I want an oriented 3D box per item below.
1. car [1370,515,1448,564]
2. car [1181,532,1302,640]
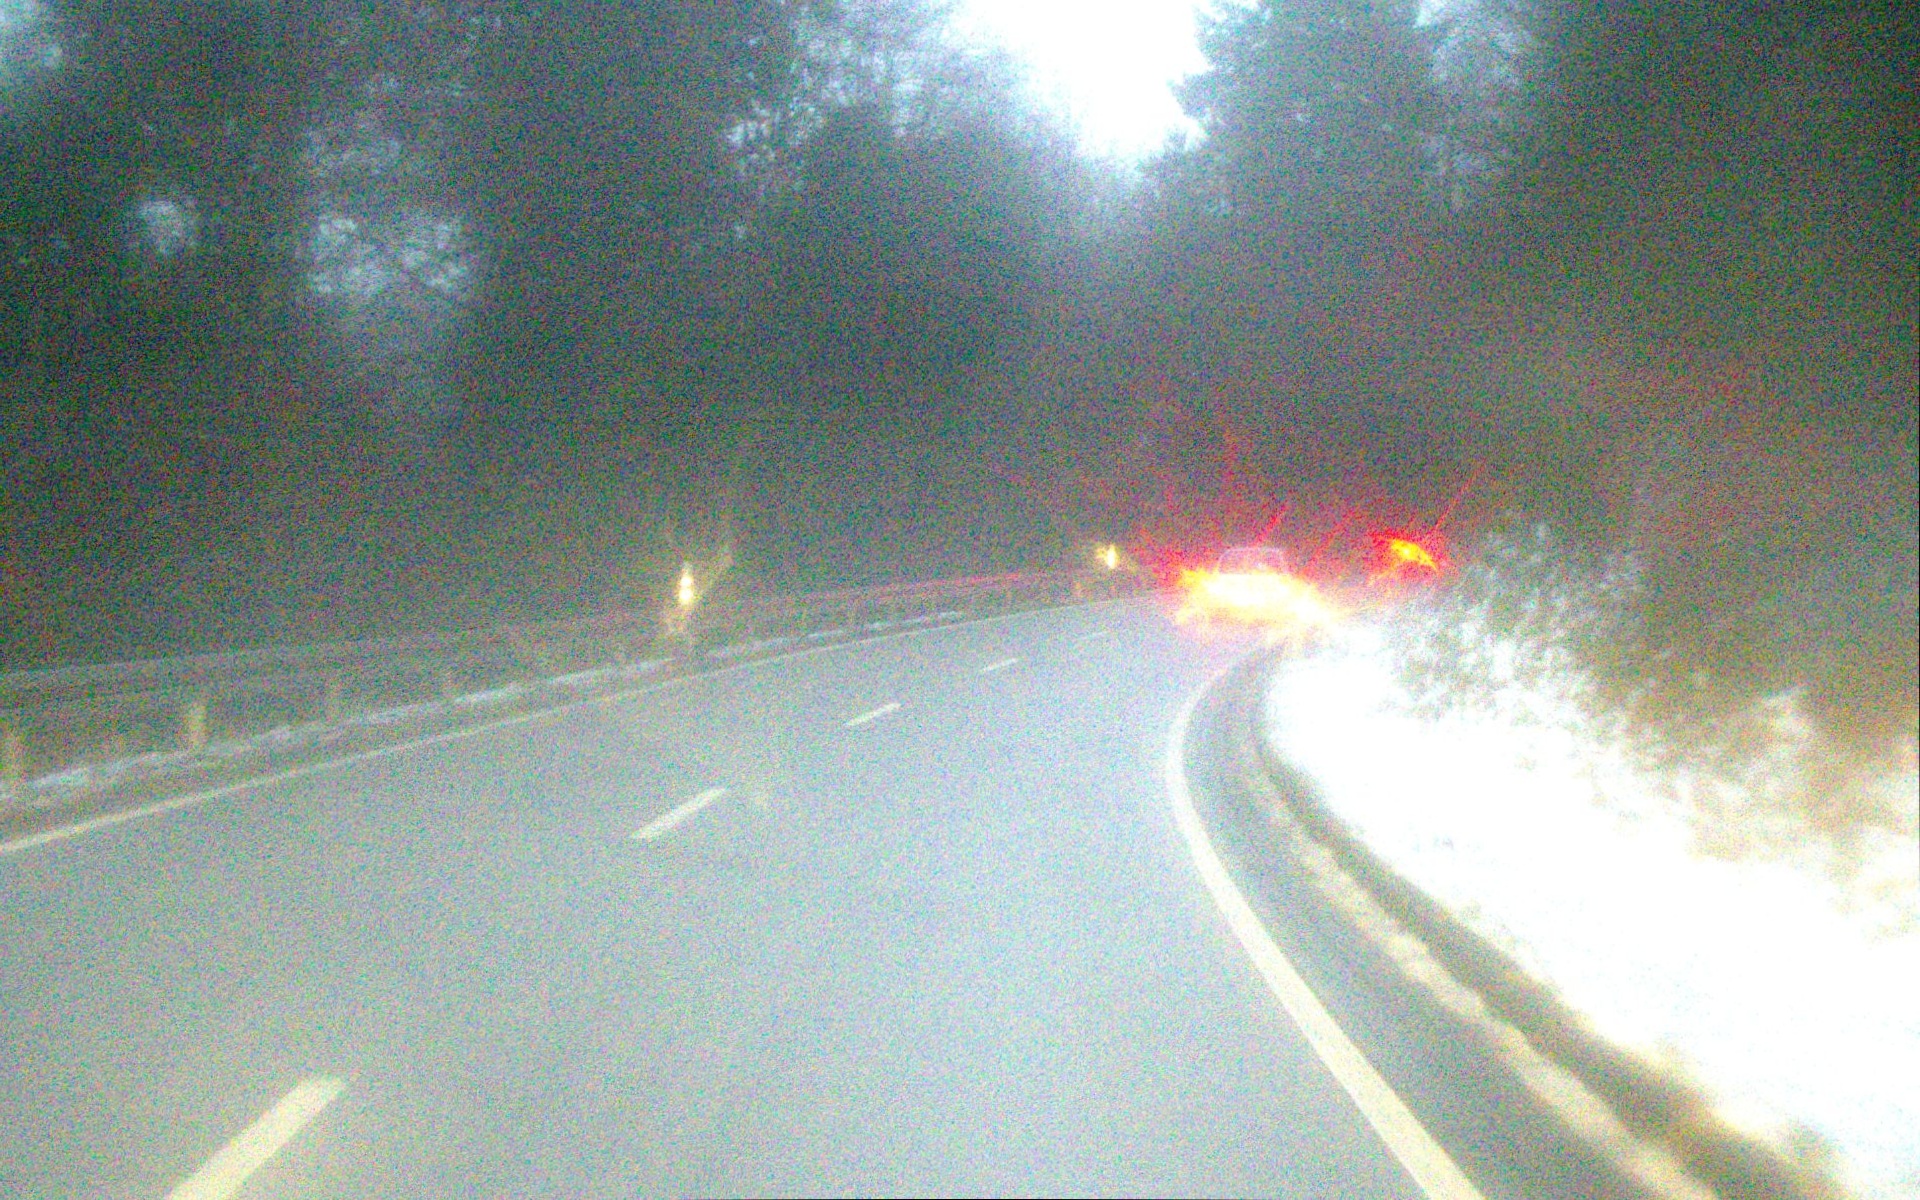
[{"bbox_3d":[12.959,-1.767,99.509,1.994,1.305,4.000,-2,1,5],"label":"car"},{"bbox_3d":[5.318,-0.296,64.586,1.994,1.866,3.999,-2,1,8],"label":"car"}]
